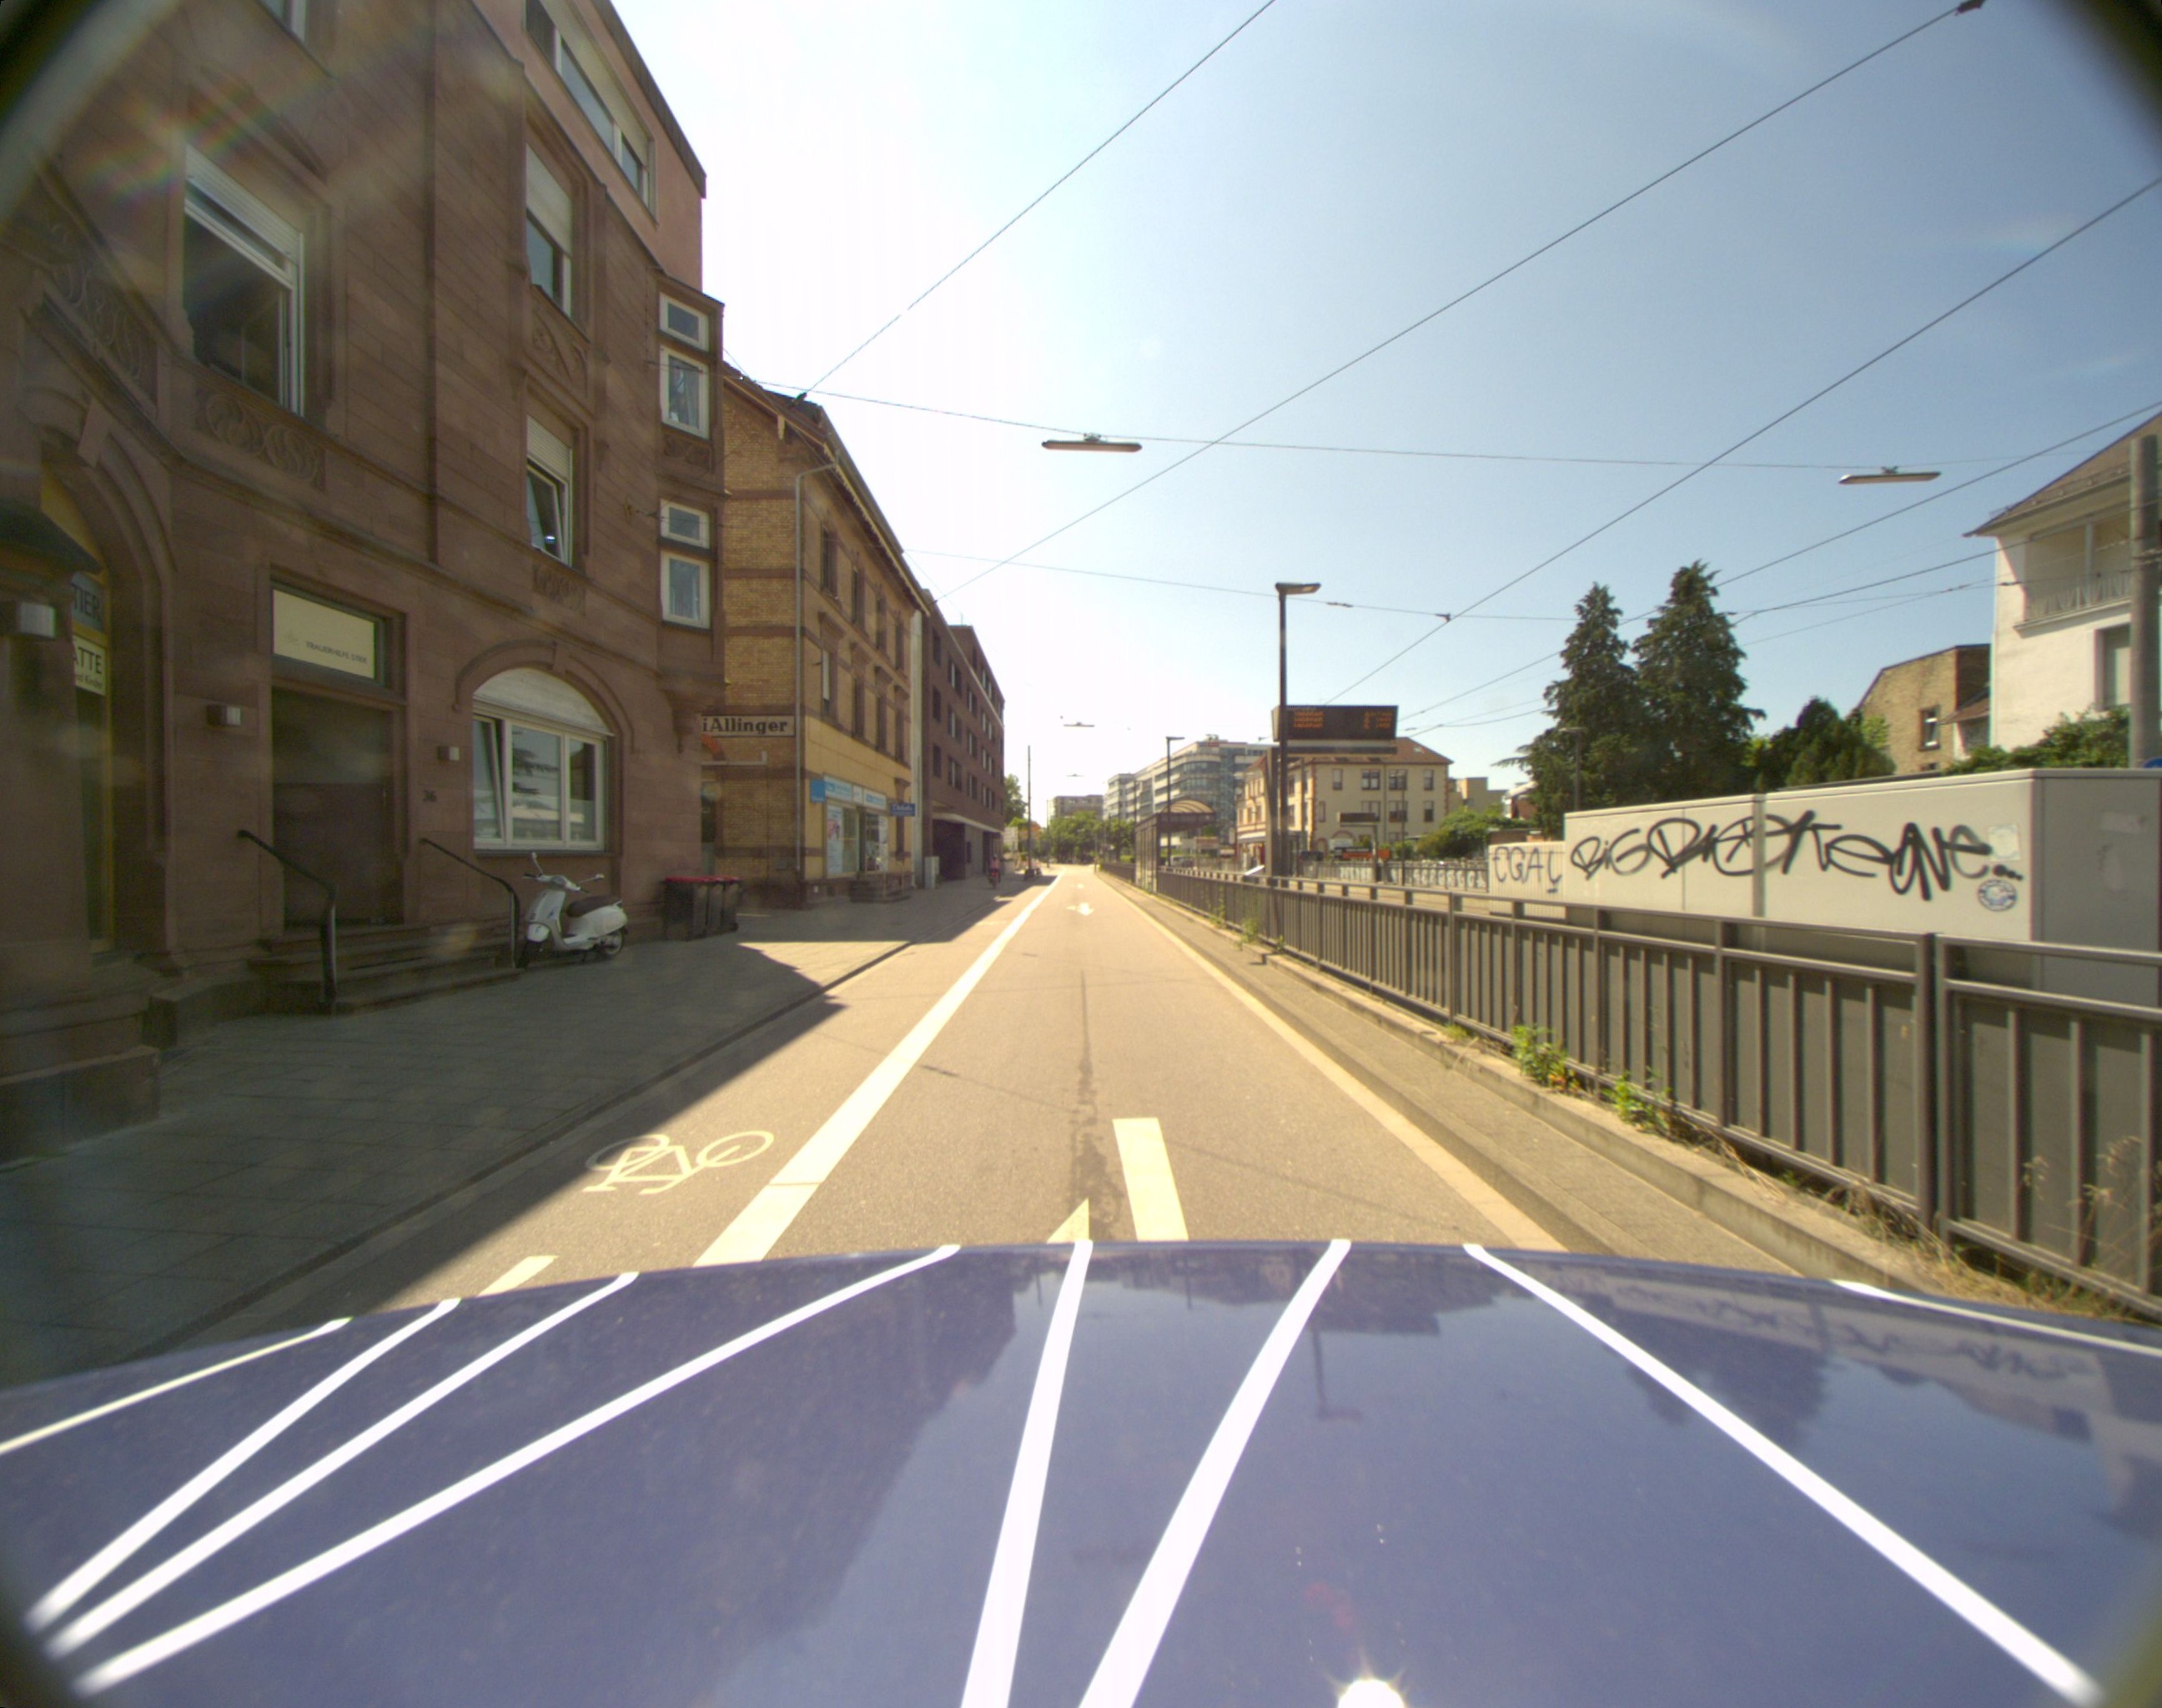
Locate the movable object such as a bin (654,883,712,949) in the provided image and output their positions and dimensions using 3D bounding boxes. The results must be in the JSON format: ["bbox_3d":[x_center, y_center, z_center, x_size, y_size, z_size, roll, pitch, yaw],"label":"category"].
[{"bbox_3d":[-6.682,1.038,12.769,0.649,1.042,0.559,2,0,-1],"label":"movable object such as a bin"}]

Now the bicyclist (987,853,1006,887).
[{"bbox_3d":[-4.257,0.809,38.269,0.671,1.712,0.929,-1,0,9],"label":"bicyclist"}]

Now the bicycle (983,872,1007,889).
[{"bbox_3d":[-4.279,1.312,38.109,0.689,0.793,1.909,-1,0,10],"label":"bicycle"}]

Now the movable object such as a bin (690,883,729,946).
[{"bbox_3d":[-6.522,1.055,13.352,0.376,1.042,0.559,2,0,0],"label":"movable object such as a bin"}]

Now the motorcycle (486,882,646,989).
[{"bbox_3d":[-6.437,0.969,9.632,0.527,1.142,1.881,0,0,8],"label":"motorcycle"}]

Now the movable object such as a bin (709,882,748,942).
[{"bbox_3d":[-6.469,1.045,13.963,0.376,1.042,0.657,2,0,0],"label":"movable object such as a bin"}]

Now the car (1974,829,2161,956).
[{"bbox_3d":[16.330,0.555,10.744,1.860,1.806,4.698,1,0,0],"label":"car"}]

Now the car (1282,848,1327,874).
[{"bbox_3d":[16.259,0.480,55.400,1.999,1.827,3.999,-1,0,-1],"label":"car"}]
